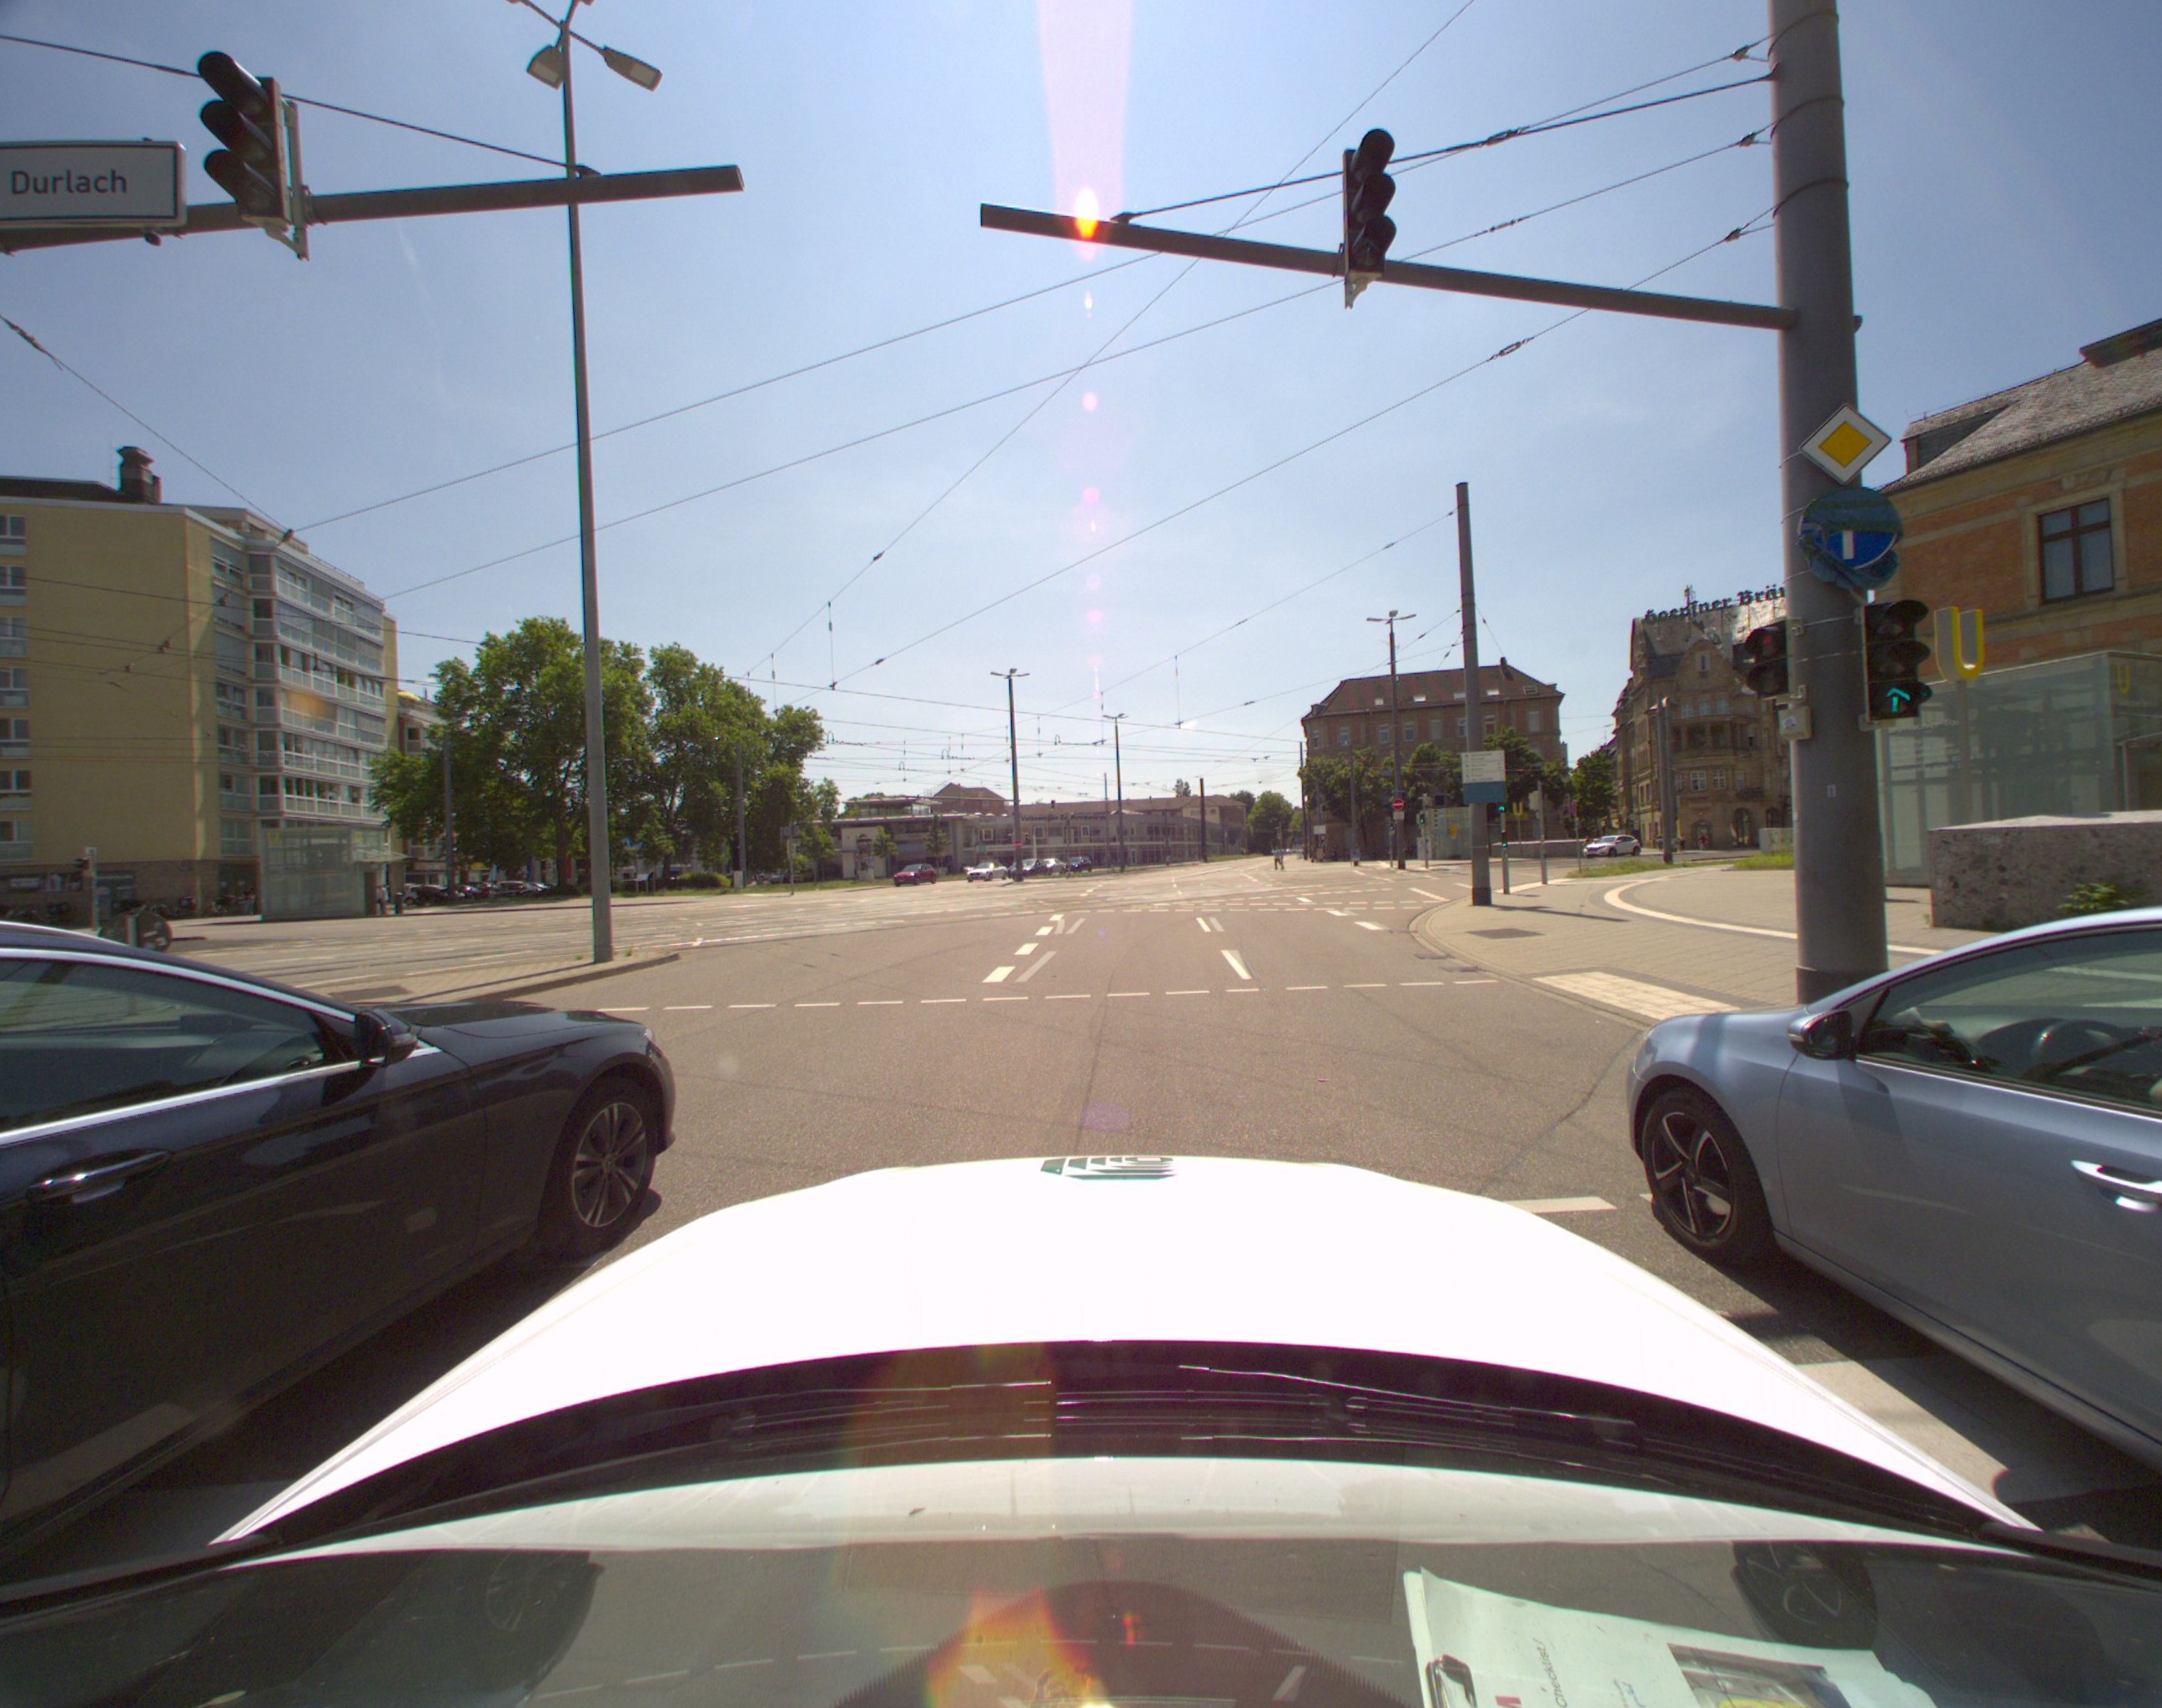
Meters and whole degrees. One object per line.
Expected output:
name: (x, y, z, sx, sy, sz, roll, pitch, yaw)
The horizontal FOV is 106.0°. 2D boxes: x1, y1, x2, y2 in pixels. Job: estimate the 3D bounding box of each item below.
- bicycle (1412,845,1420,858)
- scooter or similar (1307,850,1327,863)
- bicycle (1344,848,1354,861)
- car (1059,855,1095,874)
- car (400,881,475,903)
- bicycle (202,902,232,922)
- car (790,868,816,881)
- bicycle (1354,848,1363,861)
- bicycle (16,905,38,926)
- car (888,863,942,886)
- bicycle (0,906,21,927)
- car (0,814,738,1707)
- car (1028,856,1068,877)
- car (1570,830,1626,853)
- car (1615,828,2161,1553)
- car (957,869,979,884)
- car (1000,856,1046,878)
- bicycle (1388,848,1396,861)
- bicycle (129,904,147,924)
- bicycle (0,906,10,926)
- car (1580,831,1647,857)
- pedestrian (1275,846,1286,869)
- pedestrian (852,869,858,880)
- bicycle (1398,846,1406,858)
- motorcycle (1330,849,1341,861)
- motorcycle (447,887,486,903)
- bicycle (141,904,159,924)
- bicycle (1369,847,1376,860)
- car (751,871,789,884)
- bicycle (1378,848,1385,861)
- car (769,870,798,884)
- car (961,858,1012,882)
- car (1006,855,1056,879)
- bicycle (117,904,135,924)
bicycle: (31.043, -0.257, 75.454, 0.546, 1.120, 1.939, -2, 0, 18)
scooter or similar: (22.888, 0.218, 79.008, 1.792, 1.181, 0.596, -2, -1, -19)
bicycle: (24.894, 0.032, 75.794, 0.548, 1.120, 1.825, -2, 0, 9)
car: (-0.358, 1.056, 80.909, 2.061, 1.682, 4.870, -3, 0, 19)
car: (-48.553, 2.865, 61.527, 4.004, 1.420, 1.985, -2, 0, -23)
bicycle: (-48.939, 3.254, 46.125, 0.432, 1.026, 1.437, -2, 0, -14)
car: (-34.141, 2.503, 100.038, 1.762, 1.510, 4.323, -2, 0, -2)
bicycle: (25.822, 0.031, 75.819, 0.440, 1.146, 2.099, -1, -1, 9)
bicycle: (-55.599, 3.246, 42.965, 0.435, 1.026, 1.426, -2, 0, -42)
car: (-12.520, 1.535, 61.833, 1.978, 1.465, 4.866, -3, 0, 16)
bicycle: (-56.099, 3.244, 42.648, 0.435, 1.026, 1.426, -2, 0, -42)
car: (-2.793, 0.762, 1.705, 1.789, 1.640, 4.810, -1, 0, 4)
car: (-2.974, 1.135, 74.126, 1.977, 1.739, 4.565, -3, 0, 19)
car: (38.833, -0.943, 61.197, 3.655, 1.605, 1.682, -2, 0, -22)
car: (2.977, 0.666, 1.435, 1.644, 1.459, 4.008, -1, 0, 4)
car: (-13.620, 2.678, 98.546, 1.913, 1.707, 4.003, 0, -1, 3)
car: (-4.829, 1.064, 68.236, 1.977, 1.700, 4.870, -3, 0, 19)
bicycle: (28.686, 0.029, 75.134, 0.546, 1.120, 1.898, -2, 0, 18)
bicycle: (-50.905, 3.228, 43.978, 0.435, 1.026, 1.426, -2, 0, -42)
bicycle: (-56.606, 3.247, 42.578, 0.435, 1.026, 1.426, -2, 0, -42)
car: (36.401, -0.685, 55.659, 4.196, 1.605, 1.682, -2, 0, -22)
pedestrian: (15.111, 0.252, 61.759, 0.463, 1.708, 0.635, -2, -1, -22)
pedestrian: (-26.631, 2.439, 96.094, 0.510, 1.204, 0.446, -2, -1, 8)
bicycle: (29.749, -0.184, 75.524, 0.546, 1.120, 1.879, -2, 0, 18)
motorcycle: (23.752, 0.106, 75.951, 0.577, 1.074, 1.949, -2, 0, 6)
motorcycle: (-39.710, 2.643, 52.643, 1.925, 0.961, 0.521, -2, 0, -28)
bicycle: (-50.481, 3.228, 44.163, 0.435, 1.026, 1.426, -2, 0, -42)
bicycle: (27.025, -0.064, 75.537, 0.546, 1.120, 1.829, -2, 0, 18)
car: (-40.603, 3.018, 106.254, 4.343, 1.510, 1.754, -2, 0, -33)
bicycle: (27.776, 0.039, 75.238, 0.546, 1.120, 1.829, -2, 0, 18)
car: (-36.680, 2.833, 100.561, 1.759, 1.510, 4.330, -2, 0, 3)
car: (-7.159, 1.186, 62.118, 2.061, 1.580, 4.866, -3, 0, 16)
car: (-3.784, 0.945, 62.370, 1.977, 1.637, 4.870, -3, 0, 19)
bicycle: (-51.371, 3.229, 43.813, 0.435, 1.026, 1.426, -2, 0, -42)
